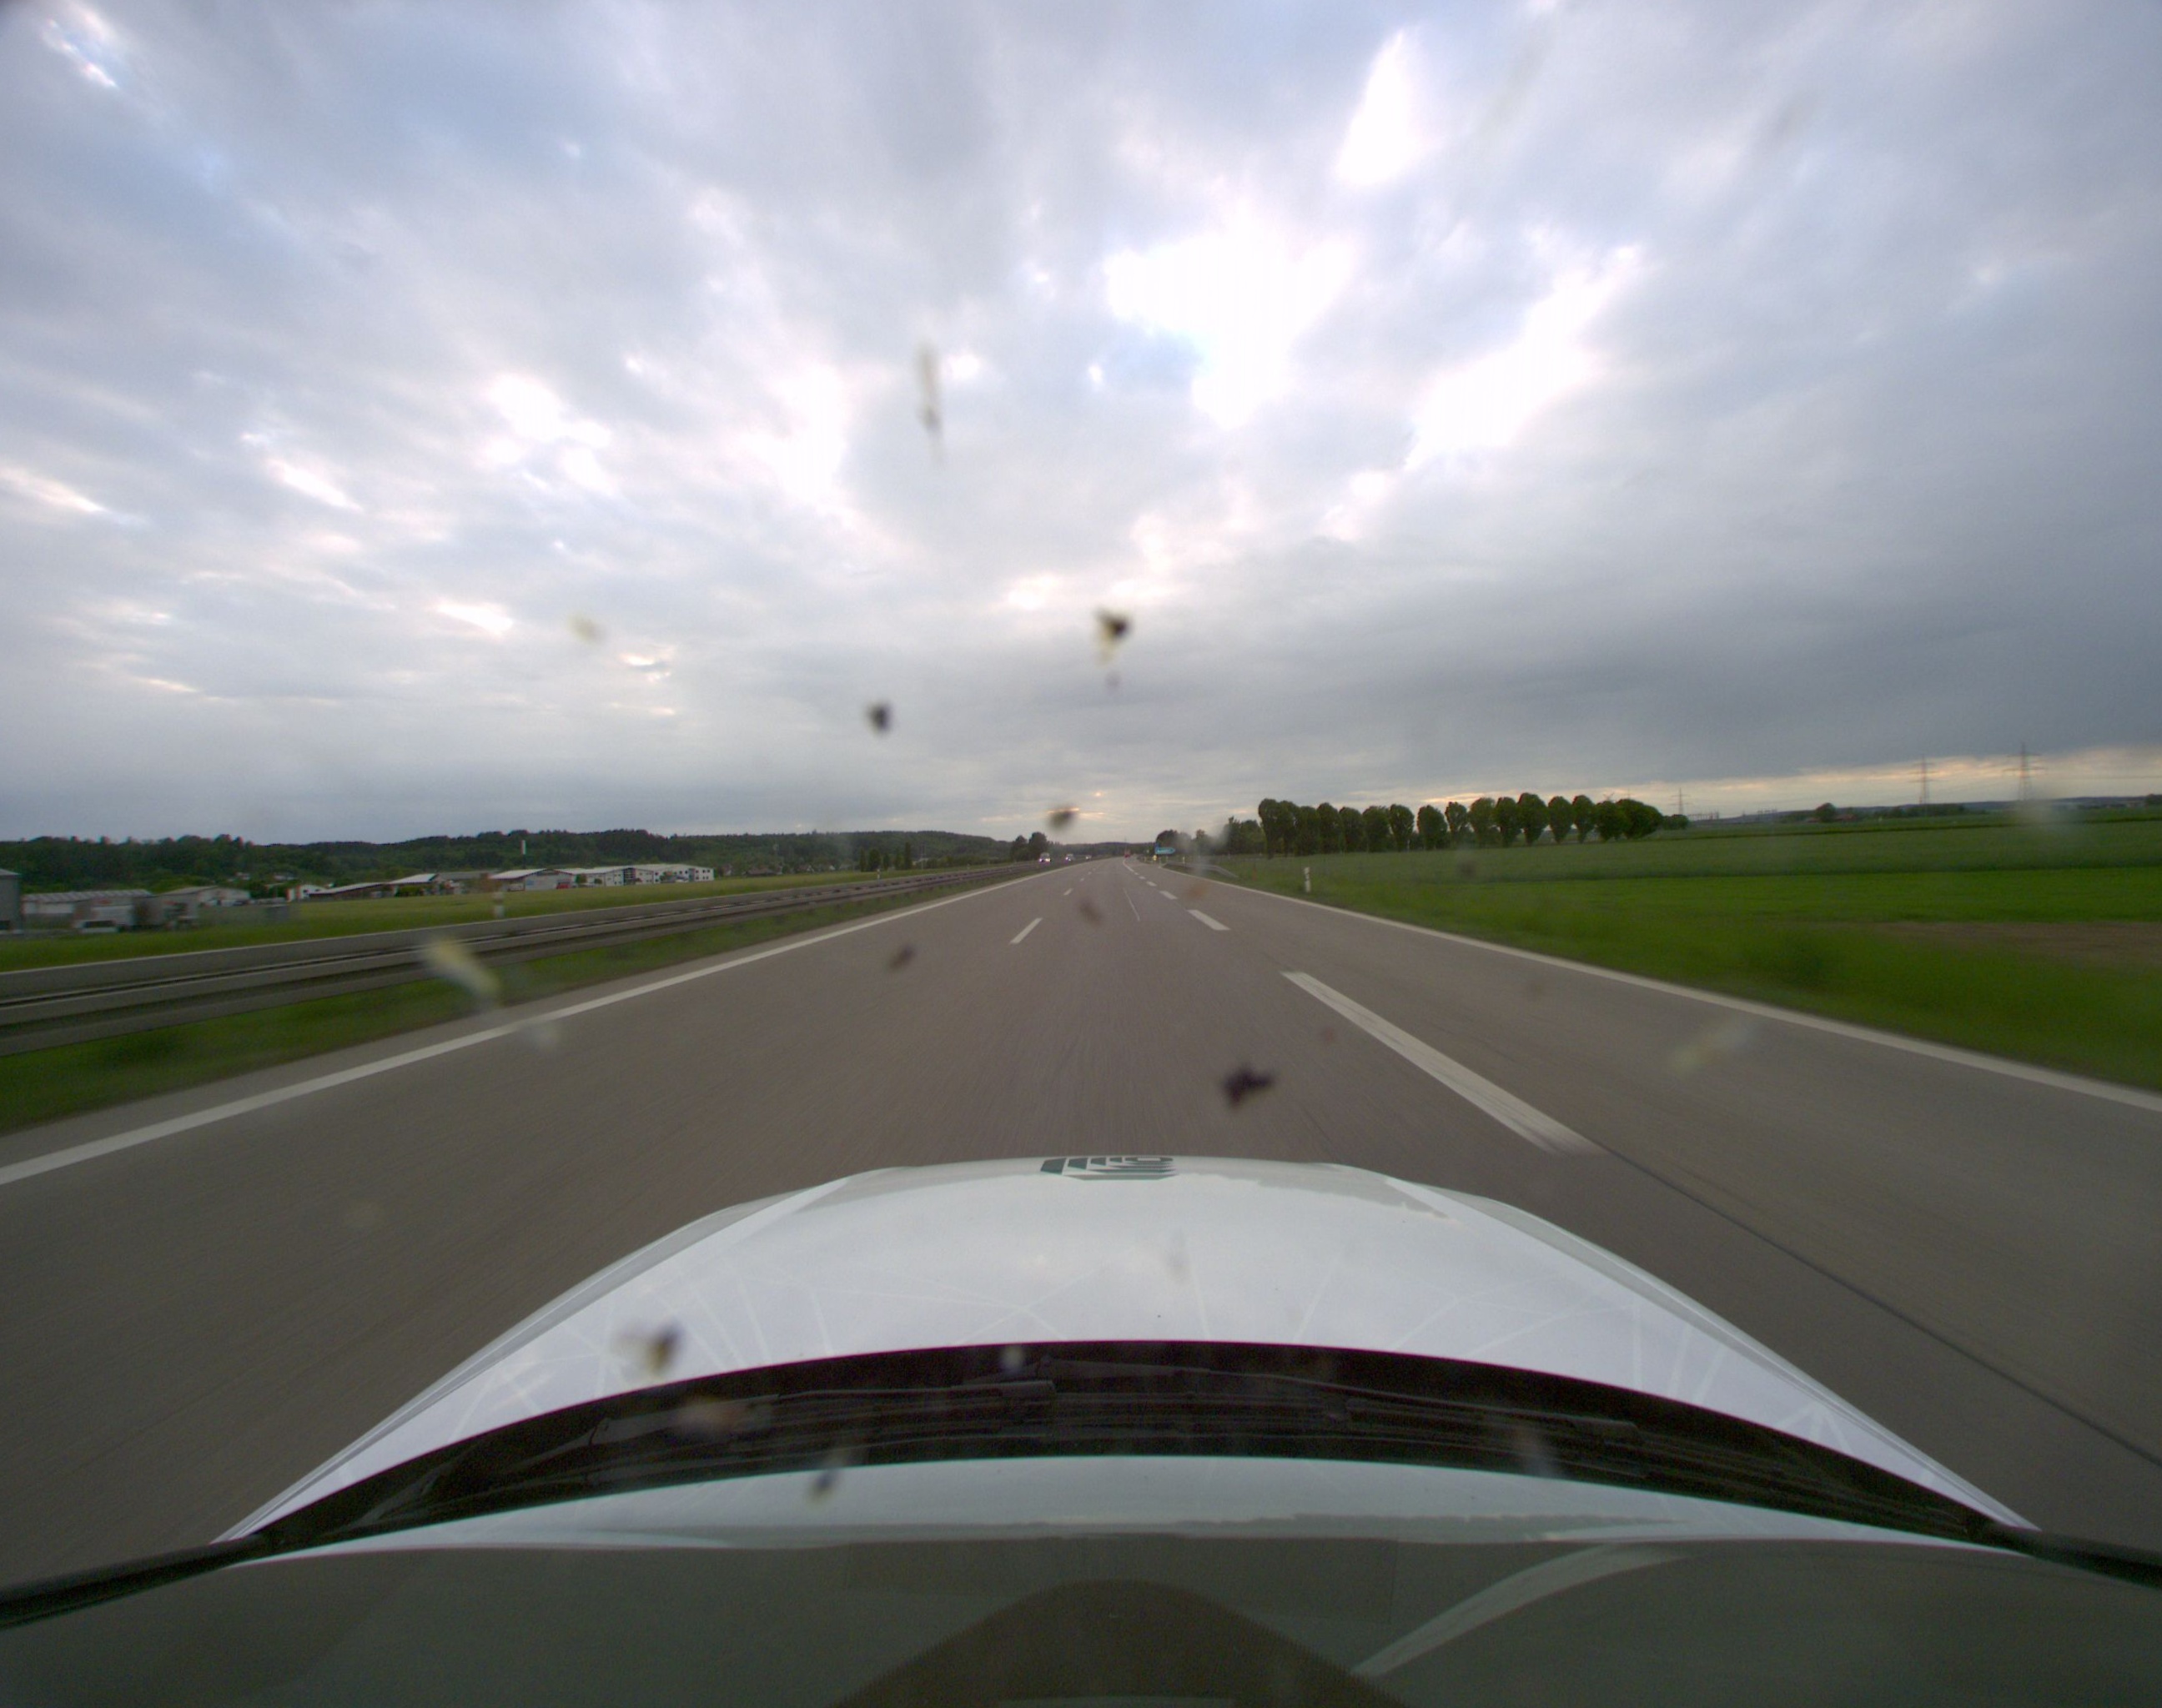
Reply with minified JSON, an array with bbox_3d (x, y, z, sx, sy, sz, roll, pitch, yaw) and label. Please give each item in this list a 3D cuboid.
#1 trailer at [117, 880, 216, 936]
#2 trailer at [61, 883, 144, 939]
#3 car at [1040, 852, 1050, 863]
[{"bbox_3d":[-96.002,5.742,85.313,16.814,5.135,3.592,-4,-2,30],"label":"trailer"},{"bbox_3d":[-99.906,5.818,83.137,9.952,5.261,3.778,-4,-2,30],"label":"trailer"},{"bbox_3d":[-8.974,0.826,203.695,2.097,2.800,6.431,-1,0,3],"label":"car"}]
